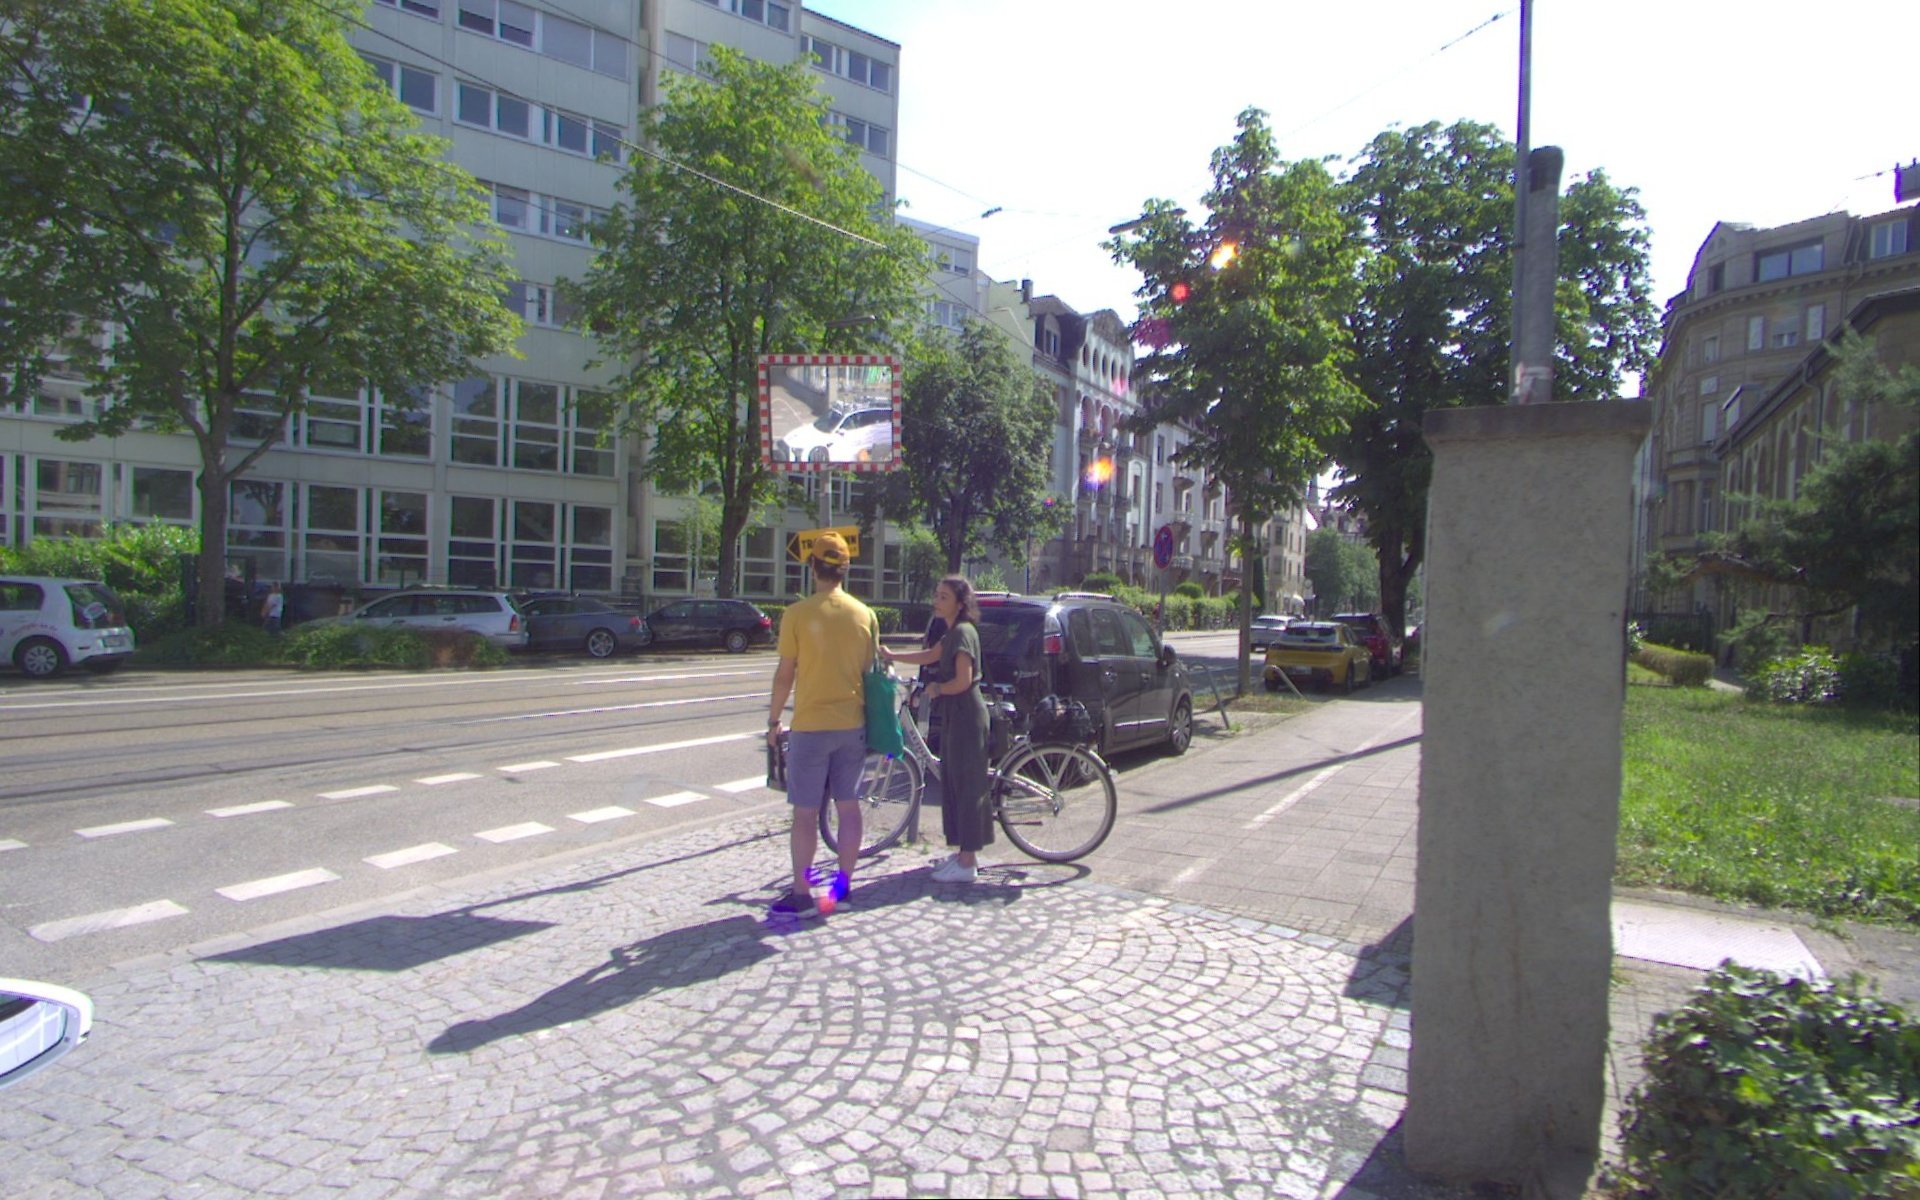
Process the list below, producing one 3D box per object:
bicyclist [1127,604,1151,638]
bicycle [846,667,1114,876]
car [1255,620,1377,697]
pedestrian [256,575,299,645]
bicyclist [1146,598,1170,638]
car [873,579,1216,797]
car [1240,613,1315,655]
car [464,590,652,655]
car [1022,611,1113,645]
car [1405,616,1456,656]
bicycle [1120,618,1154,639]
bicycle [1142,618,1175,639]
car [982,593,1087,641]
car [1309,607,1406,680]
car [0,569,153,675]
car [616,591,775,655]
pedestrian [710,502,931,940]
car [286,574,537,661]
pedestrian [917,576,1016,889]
[{"bbox_3d":[8.413,0.984,47.180,0.793,1.563,0.859,2,1,34],"label":"bicyclist"},{"bbox_3d":[0.118,0.960,5.812,1.484,1.055,0.363,2,1,13],"label":"bicycle"},{"bbox_3d":[7.808,1.189,21.729,1.828,1.430,3.983,2,0,29],"label":"car"},{"bbox_3d":[-14.722,0.221,21.609,0.417,1.480,0.619,2,1,28],"label":"pedestrian"},{"bbox_3d":[9.192,0.846,46.445,0.793,1.825,0.859,2,1,34],"label":"bicyclist"},{"bbox_3d":[1.060,0.728,10.132,1.830,1.706,3.980,2,0,32],"label":"car"},{"bbox_3d":[12.557,1.317,39.456,1.863,1.427,4.573,4,1,29],"label":"car"},{"bbox_3d":[-9.272,0.522,23.379,3.875,1.375,1.556,2,0,-15],"label":"car"},{"bbox_3d":[5.238,1.359,48.921,3.929,1.528,1.997,2,0,-15],"label":"car"},{"bbox_3d":[21.729,1.632,46.146,1.828,1.702,3.983,2,0,29],"label":"car"},{"bbox_3d":[8.342,1.341,47.142,0.670,0.929,2.308,2,0,33],"label":"bicycle"},{"bbox_3d":[9.219,1.331,46.436,0.670,0.929,2.308,2,0,33],"label":"bicycle"},{"bbox_3d":[3.131,0.718,42.282,3.935,1.884,1.993,2,0,-22],"label":"car"},{"bbox_3d":[10.440,1.087,26.153,1.828,1.702,3.983,2,0,29],"label":"car"},{"bbox_3d":[-14.634,0.290,14.803,3.873,1.506,1.610,1,1,-14],"label":"car"},{"bbox_3d":[-6.902,0.602,26.310,3.875,1.506,1.556,2,0,-15],"label":"car"},{"bbox_3d":[-0.629,0.529,4.806,0.837,1.889,0.829,2,1,5],"label":"pedestrian"},{"bbox_3d":[-11.142,0.387,20.654,4.269,1.625,1.555,2,0,-18],"label":"car"},{"bbox_3d":[0.043,0.699,5.508,0.445,1.643,0.422,1,0,13],"label":"pedestrian"}]
